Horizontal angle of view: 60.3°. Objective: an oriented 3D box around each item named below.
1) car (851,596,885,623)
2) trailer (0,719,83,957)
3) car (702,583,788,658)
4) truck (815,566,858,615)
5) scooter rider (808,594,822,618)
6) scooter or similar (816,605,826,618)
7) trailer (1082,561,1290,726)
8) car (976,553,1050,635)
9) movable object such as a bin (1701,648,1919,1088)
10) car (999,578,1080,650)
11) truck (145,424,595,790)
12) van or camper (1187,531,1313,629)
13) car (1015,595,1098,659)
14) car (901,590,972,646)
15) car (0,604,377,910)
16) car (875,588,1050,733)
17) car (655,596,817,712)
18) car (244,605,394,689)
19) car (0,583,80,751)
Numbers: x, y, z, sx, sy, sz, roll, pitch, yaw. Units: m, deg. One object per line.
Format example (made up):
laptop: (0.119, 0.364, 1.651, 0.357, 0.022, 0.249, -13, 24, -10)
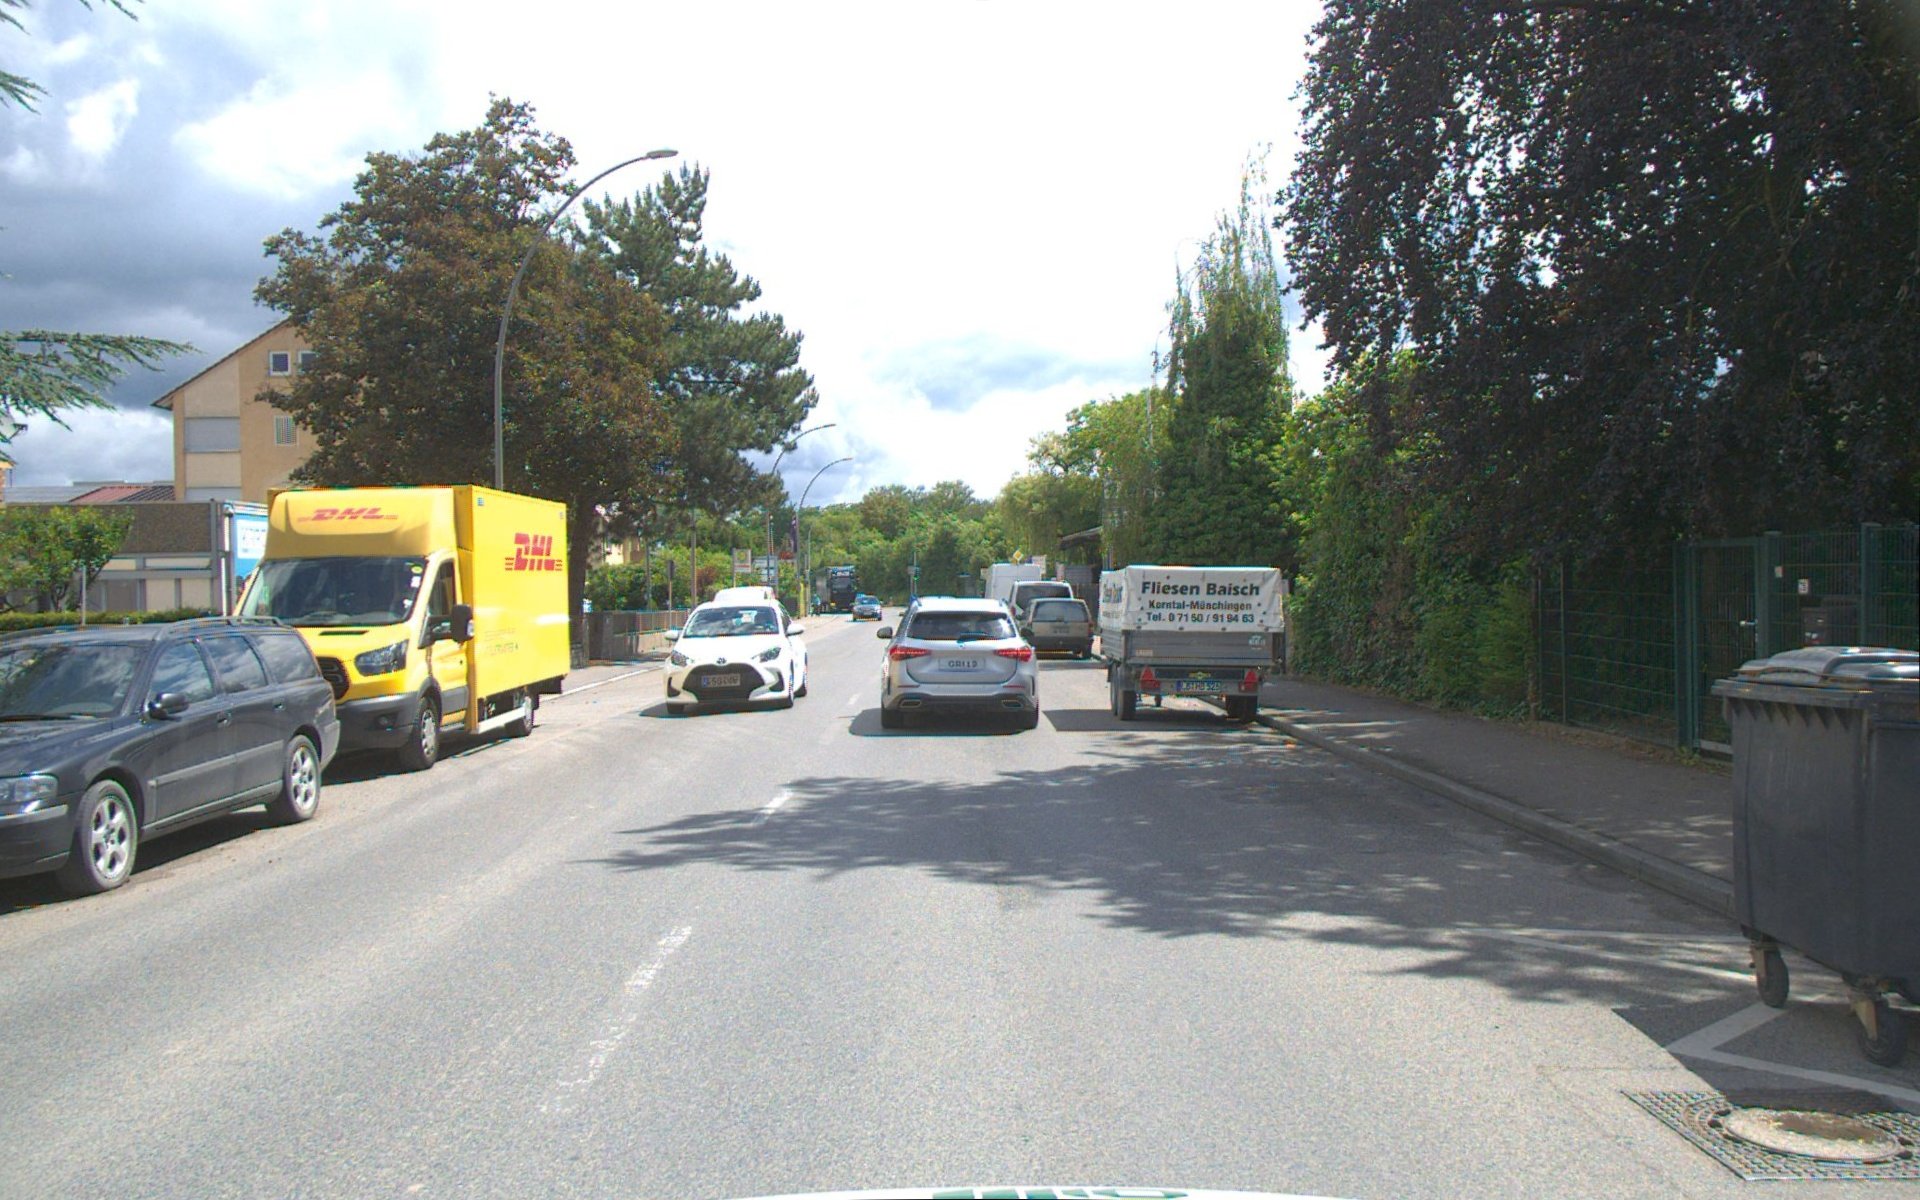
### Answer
car: (-5.481, 0.567, 99.145, 1.862, 1.544, 4.317, -2, 0, -2)
trailer: (-5.387, 1.151, 4.309, 2.271, 1.008, 7.457, -3, 0, -1)
car: (-6.209, 0.539, 48.216, 1.796, 1.885, 4.895, -4, 1, -1)
truck: (-10.996, -0.772, 146.549, 2.387, 4.203, 9.119, 1, -1, -13)
scooter rider: (-9.990, 0.406, 114.110, 0.860, 1.617, 0.796, -1, 0, -1)
scooter or similar: (-9.567, 0.802, 113.691, 0.599, 0.846, 0.659, 1, 0, -1)
trailer: (2.749, 0.492, 21.206, 1.953, 1.855, 4.764, 1, 0, -1)
car: (1.858, -0.216, 60.150, 2.170, 2.736, 6.655, -2, 0, -2)
movable object such as a bin: (3.468, 0.859, 5.860, 1.090, 1.313, 1.358, -2, 0, 3)
car: (2.199, 0.356, 47.323, 1.867, 1.918, 5.387, 1, 0, -2)
truck: (-5.995, 0.047, 18.316, 2.277, 3.055, 7.815, -3, 0, -2)
van or camper: (9.868, -0.667, 57.022, 2.823, 3.114, 6.910, -1, 0, -2)
car: (2.374, 0.640, 41.633, 1.719, 1.476, 4.993, 1, 0, -1)
car: (-0.731, 0.507, 48.592, 1.847, 1.535, 3.997, -1, 0, -4)
car: (-5.611, 0.862, 10.619, 1.953, 1.478, 4.811, -5, 0, -1)
car: (0.003, 0.642, 19.716, 1.846, 1.535, 3.999, -1, 0, -1)
car: (-3.103, 0.704, 23.690, 1.942, 1.445, 3.997, -2, 0, -3)
car: (-13.157, 0.922, 34.195, 1.732, 1.570, 4.084, -2, 0, -5)
car: (-11.461, 0.683, 15.868, 4.907, 1.579, 1.971, -1, 0, -3)
